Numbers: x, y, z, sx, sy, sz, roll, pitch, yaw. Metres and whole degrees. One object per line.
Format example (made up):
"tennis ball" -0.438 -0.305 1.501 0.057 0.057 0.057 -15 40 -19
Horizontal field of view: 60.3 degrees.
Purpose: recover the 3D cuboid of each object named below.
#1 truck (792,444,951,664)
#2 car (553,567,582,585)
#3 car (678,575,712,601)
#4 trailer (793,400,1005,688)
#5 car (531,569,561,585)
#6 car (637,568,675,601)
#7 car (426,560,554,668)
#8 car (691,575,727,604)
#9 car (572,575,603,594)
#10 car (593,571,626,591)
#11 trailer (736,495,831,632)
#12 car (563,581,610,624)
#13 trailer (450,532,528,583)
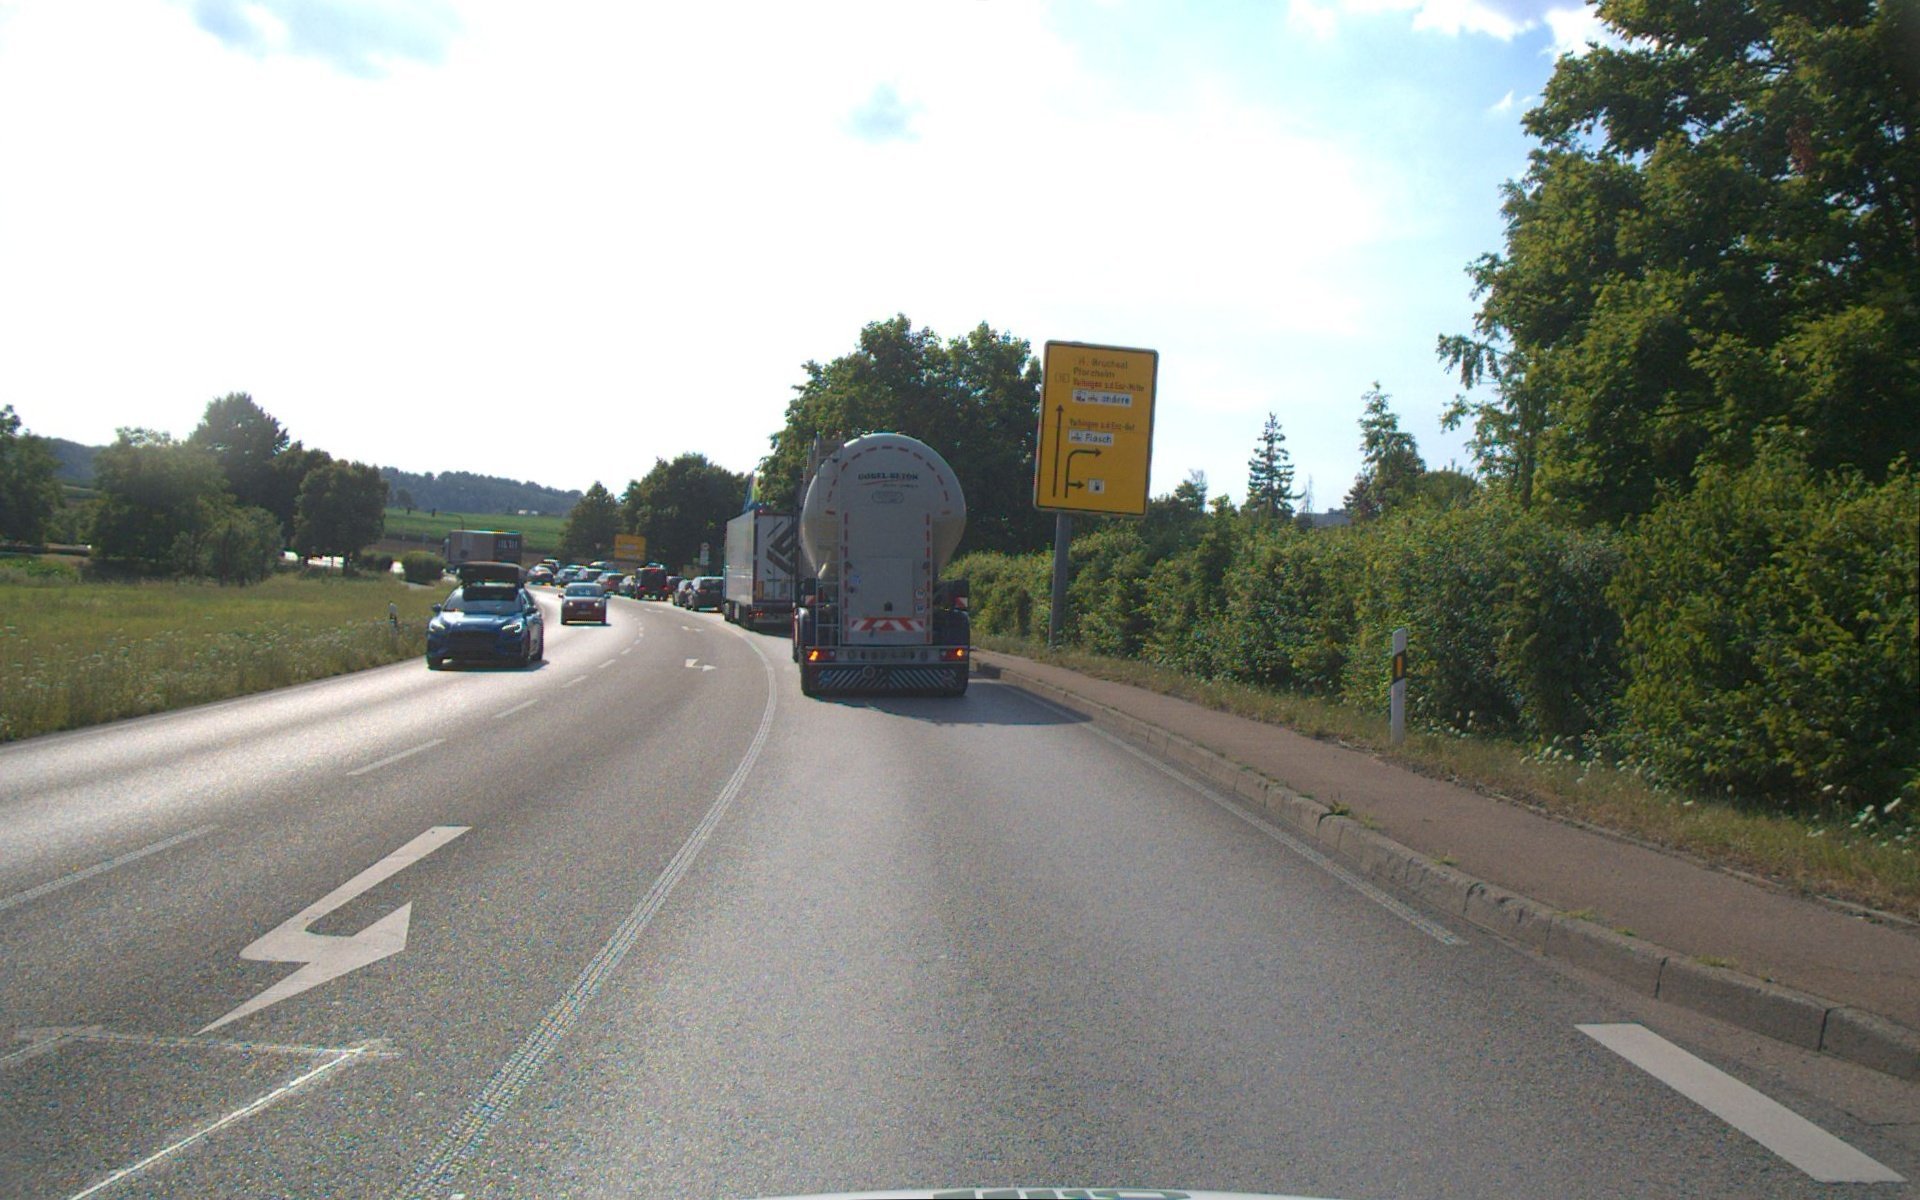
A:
"truck" -1.849 -0.866 32.905 2.854 4.076 4.053 1 0 -7
"car" -31.433 -1.927 132.351 1.561 1.364 3.398 2 0 -26
"car" -14.682 -0.695 91.587 1.553 1.364 3.413 2 0 -14
"trailer" -1.353 -0.839 28.590 2.854 4.076 9.916 1 0 -7
"car" -34.645 -1.949 138.454 1.747 1.227 3.398 2 0 -26
"car" -19.412 -0.972 105.433 1.833 2.049 3.699 1 1 -19
"car" -8.937 0.228 31.764 1.692 1.915 4.329 0 1 -7
"car" -12.655 -0.554 83.229 1.552 1.364 3.416 2 0 -12
"car" -28.088 -1.161 124.716 1.561 1.364 3.398 2 0 -26
"car" -25.205 -1.352 118.939 1.561 1.364 3.398 2 0 -26
"trailer" -6.729 -1.291 61.225 2.900 4.390 14.149 2 0 -8
"car" -13.647 0.074 60.542 1.557 1.492 3.597 0 1 -11
"trailer" -44.087 -3.980 154.513 3.342 4.426 14.143 2 0 -31
